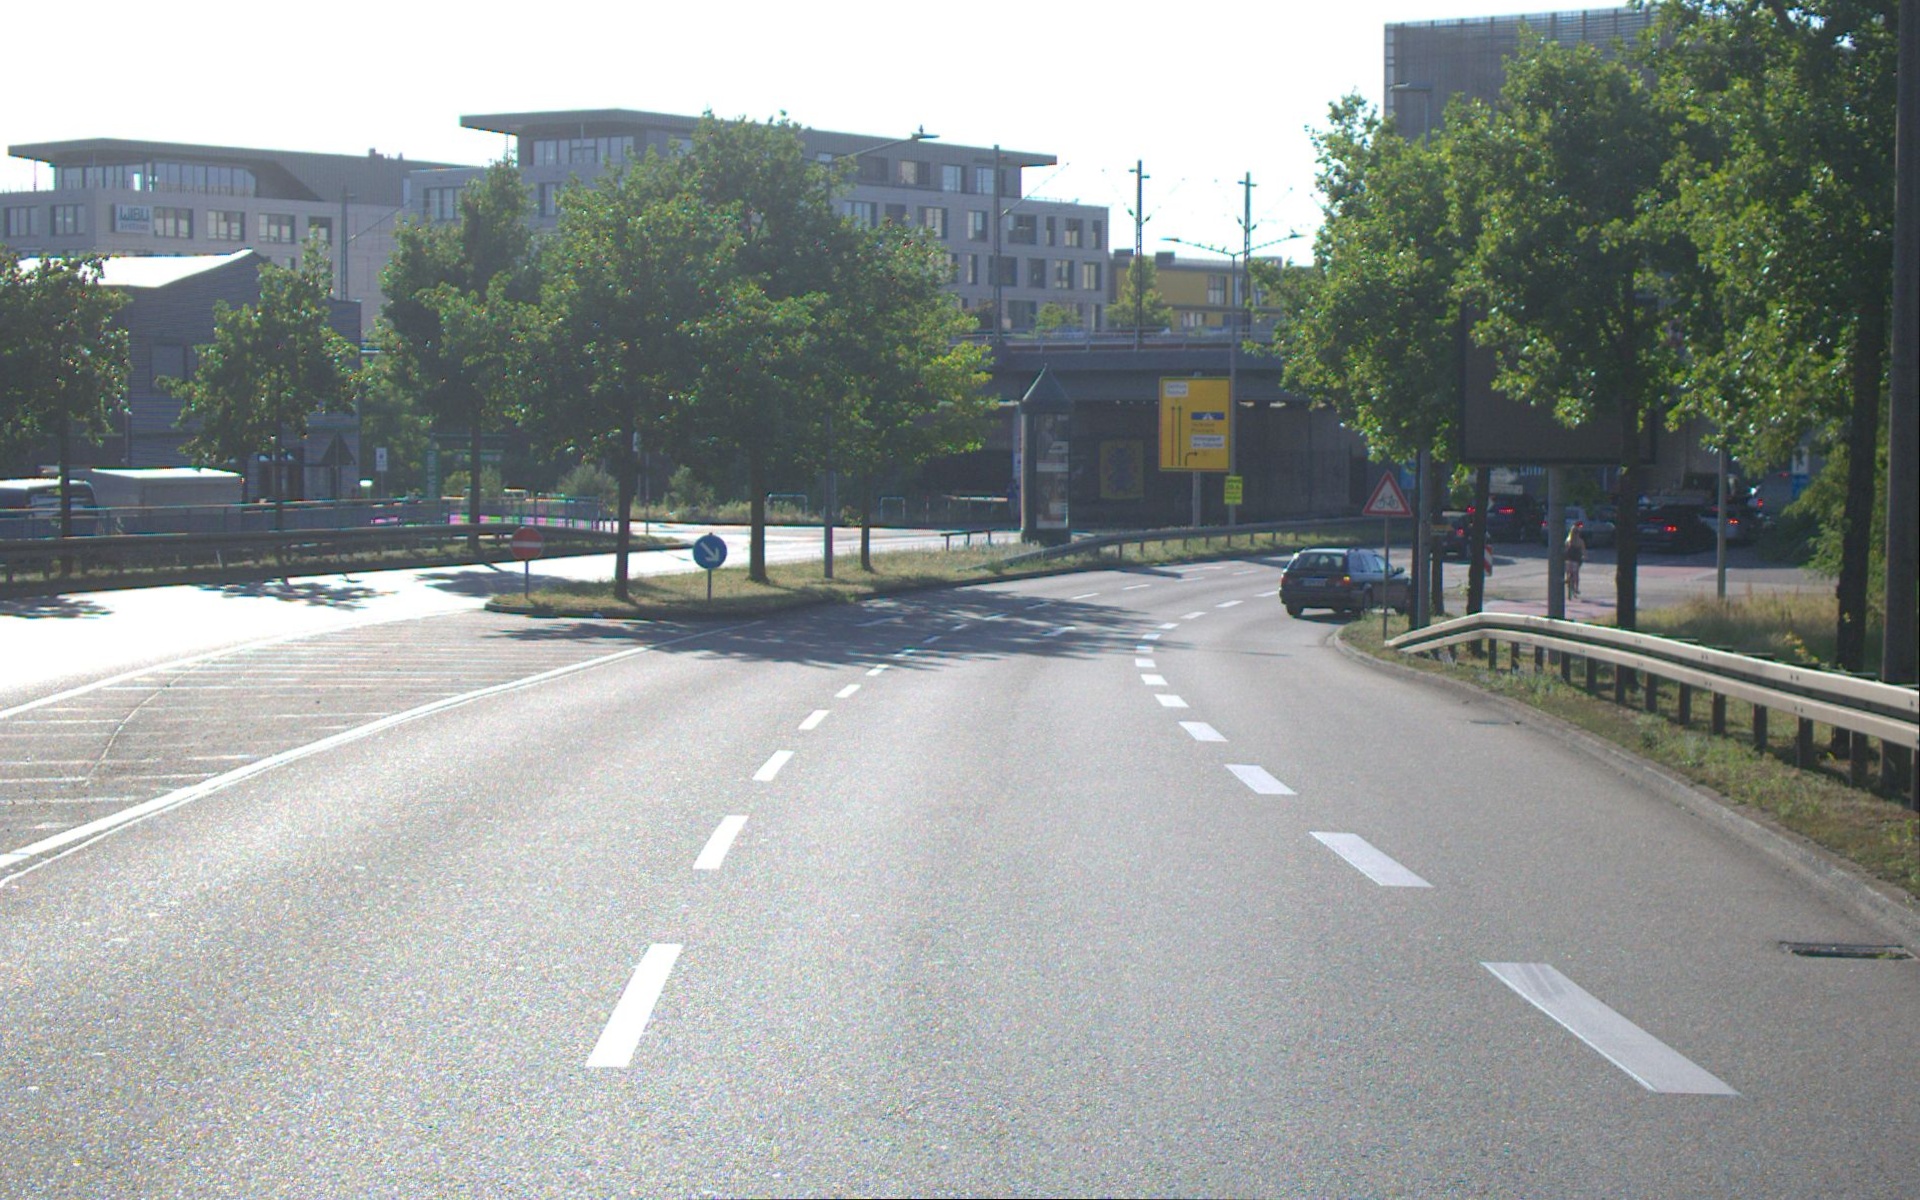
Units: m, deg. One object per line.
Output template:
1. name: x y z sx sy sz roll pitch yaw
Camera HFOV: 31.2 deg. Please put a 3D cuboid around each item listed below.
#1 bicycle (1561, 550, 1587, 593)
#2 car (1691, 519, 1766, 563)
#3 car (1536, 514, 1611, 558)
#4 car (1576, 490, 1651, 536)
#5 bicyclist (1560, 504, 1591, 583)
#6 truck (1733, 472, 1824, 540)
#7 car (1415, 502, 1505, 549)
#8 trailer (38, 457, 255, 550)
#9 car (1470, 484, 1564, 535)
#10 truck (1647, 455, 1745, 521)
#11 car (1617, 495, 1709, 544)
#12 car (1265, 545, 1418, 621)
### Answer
1. bicycle: 15.111 -0.720 84.561 0.579 0.960 2.885 2 2 11
2. car: 27.730 -2.137 123.959 1.775 1.490 3.827 1 2 26
3. car: 21.352 -2.238 119.526 1.549 1.418 3.412 -1 2 28
4. car: 25.450 -3.396 133.803 1.844 1.713 3.994 -1 1 27
5. bicyclist: 15.133 -1.394 84.551 0.682 1.900 0.833 2 3 10
6. truck: 31.262 -3.572 131.166 2.115 2.511 4.393 2 2 30
7. car: 15.957 -2.388 109.599 1.584 1.403 3.826 3 3 28
8. trailer: -18.336 -2.201 77.864 2.420 1.963 6.604 2 2 9
9. car: 19.872 -3.242 122.556 1.832 1.732 4.454 2 3 29
10. truck: 29.913 -4.549 139.631 2.032 2.547 5.527 3 3 32
11. car: 24.066 -2.765 117.593 1.743 1.449 4.599 3 5 29
12. car: 8.175 -0.374 73.378 1.996 1.503 3.995 -1 1 26
